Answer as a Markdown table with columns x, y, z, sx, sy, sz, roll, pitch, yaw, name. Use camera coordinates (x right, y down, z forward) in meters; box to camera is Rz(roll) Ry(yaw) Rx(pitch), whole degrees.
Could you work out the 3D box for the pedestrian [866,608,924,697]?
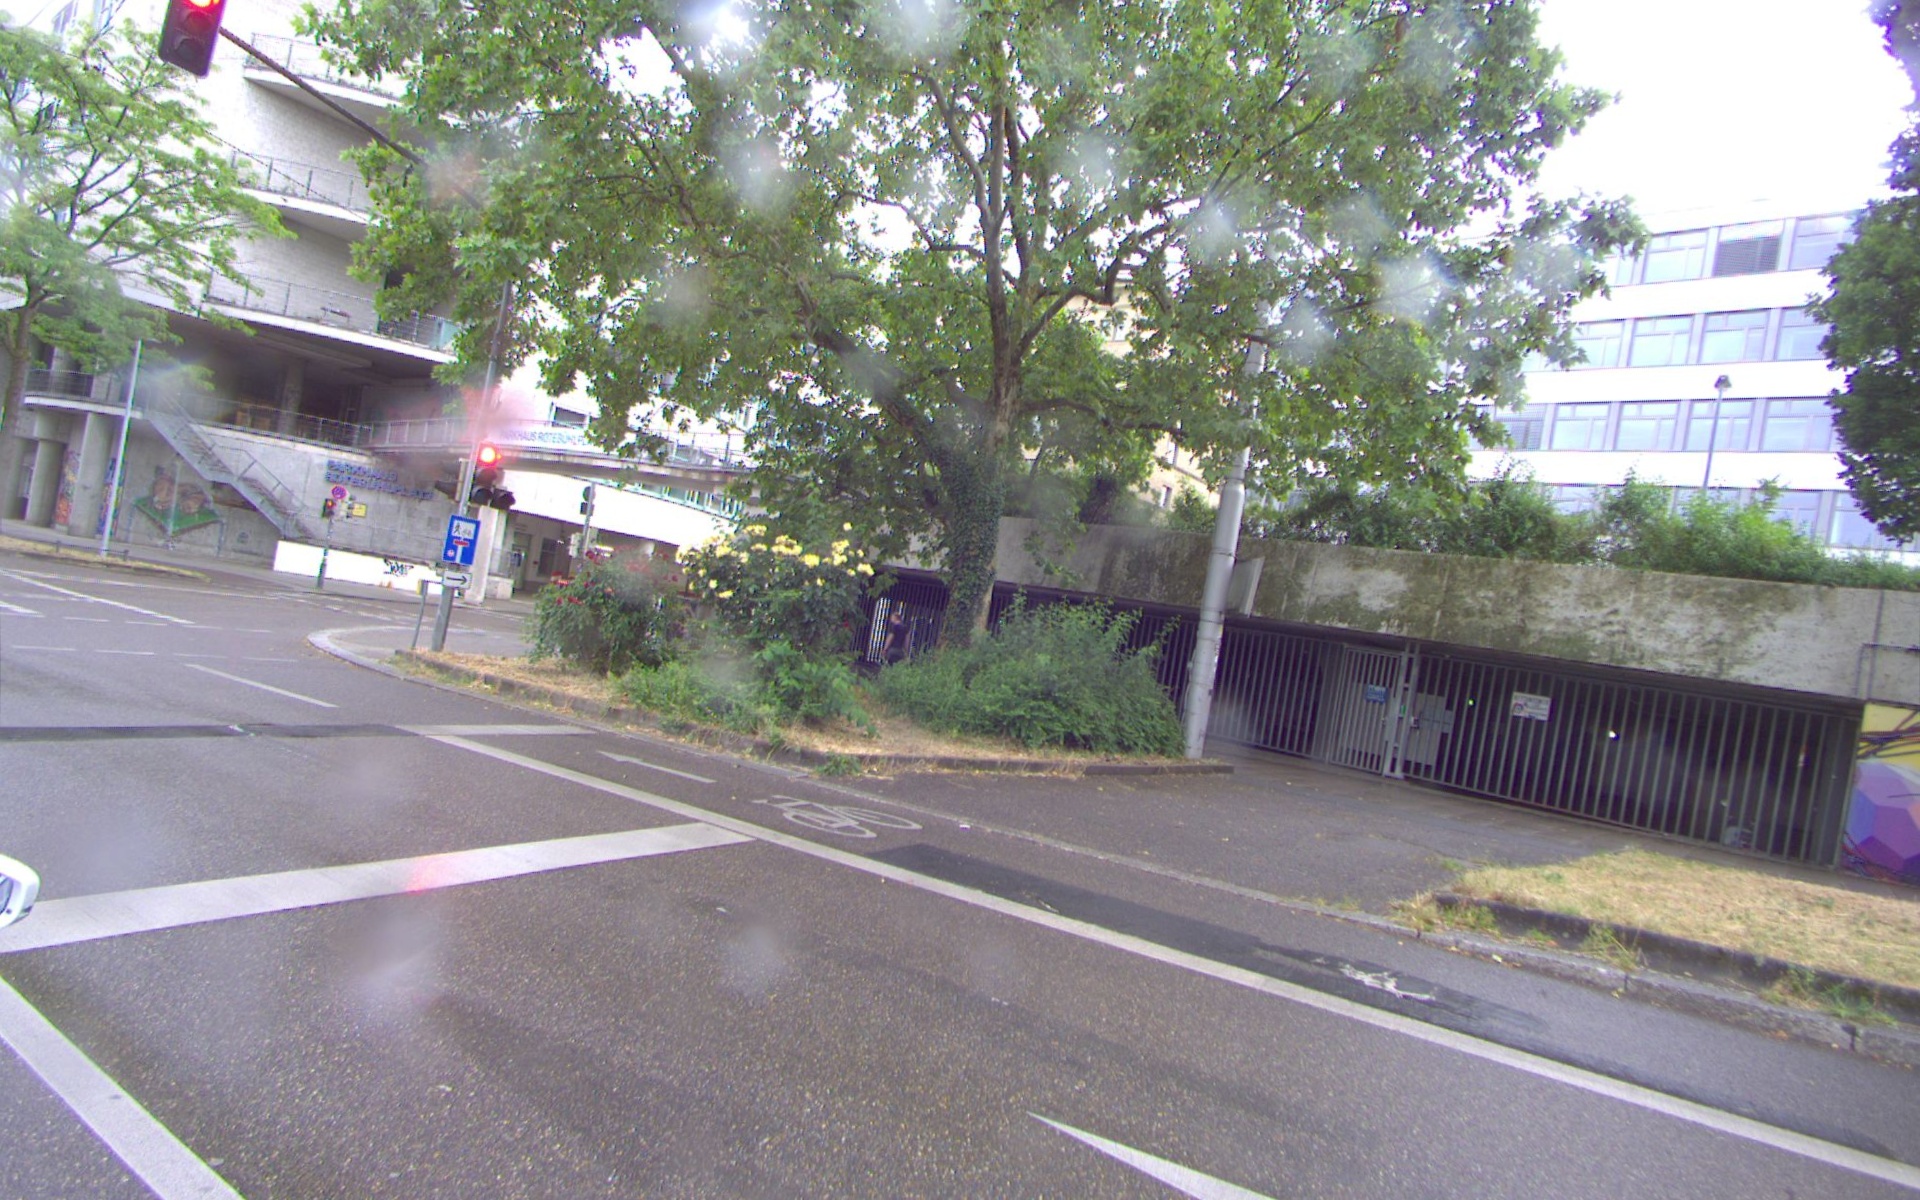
| x | y | z | sx | sy | sz | roll | pitch | yaw | name |
| --- | --- | --- | --- | --- | --- | --- | --- | --- | --- |
| -1.502 | 1.220 | 23.374 | 0.745 | 1.932 | 0.847 | 8 | -1 | 31 | pedestrian |
